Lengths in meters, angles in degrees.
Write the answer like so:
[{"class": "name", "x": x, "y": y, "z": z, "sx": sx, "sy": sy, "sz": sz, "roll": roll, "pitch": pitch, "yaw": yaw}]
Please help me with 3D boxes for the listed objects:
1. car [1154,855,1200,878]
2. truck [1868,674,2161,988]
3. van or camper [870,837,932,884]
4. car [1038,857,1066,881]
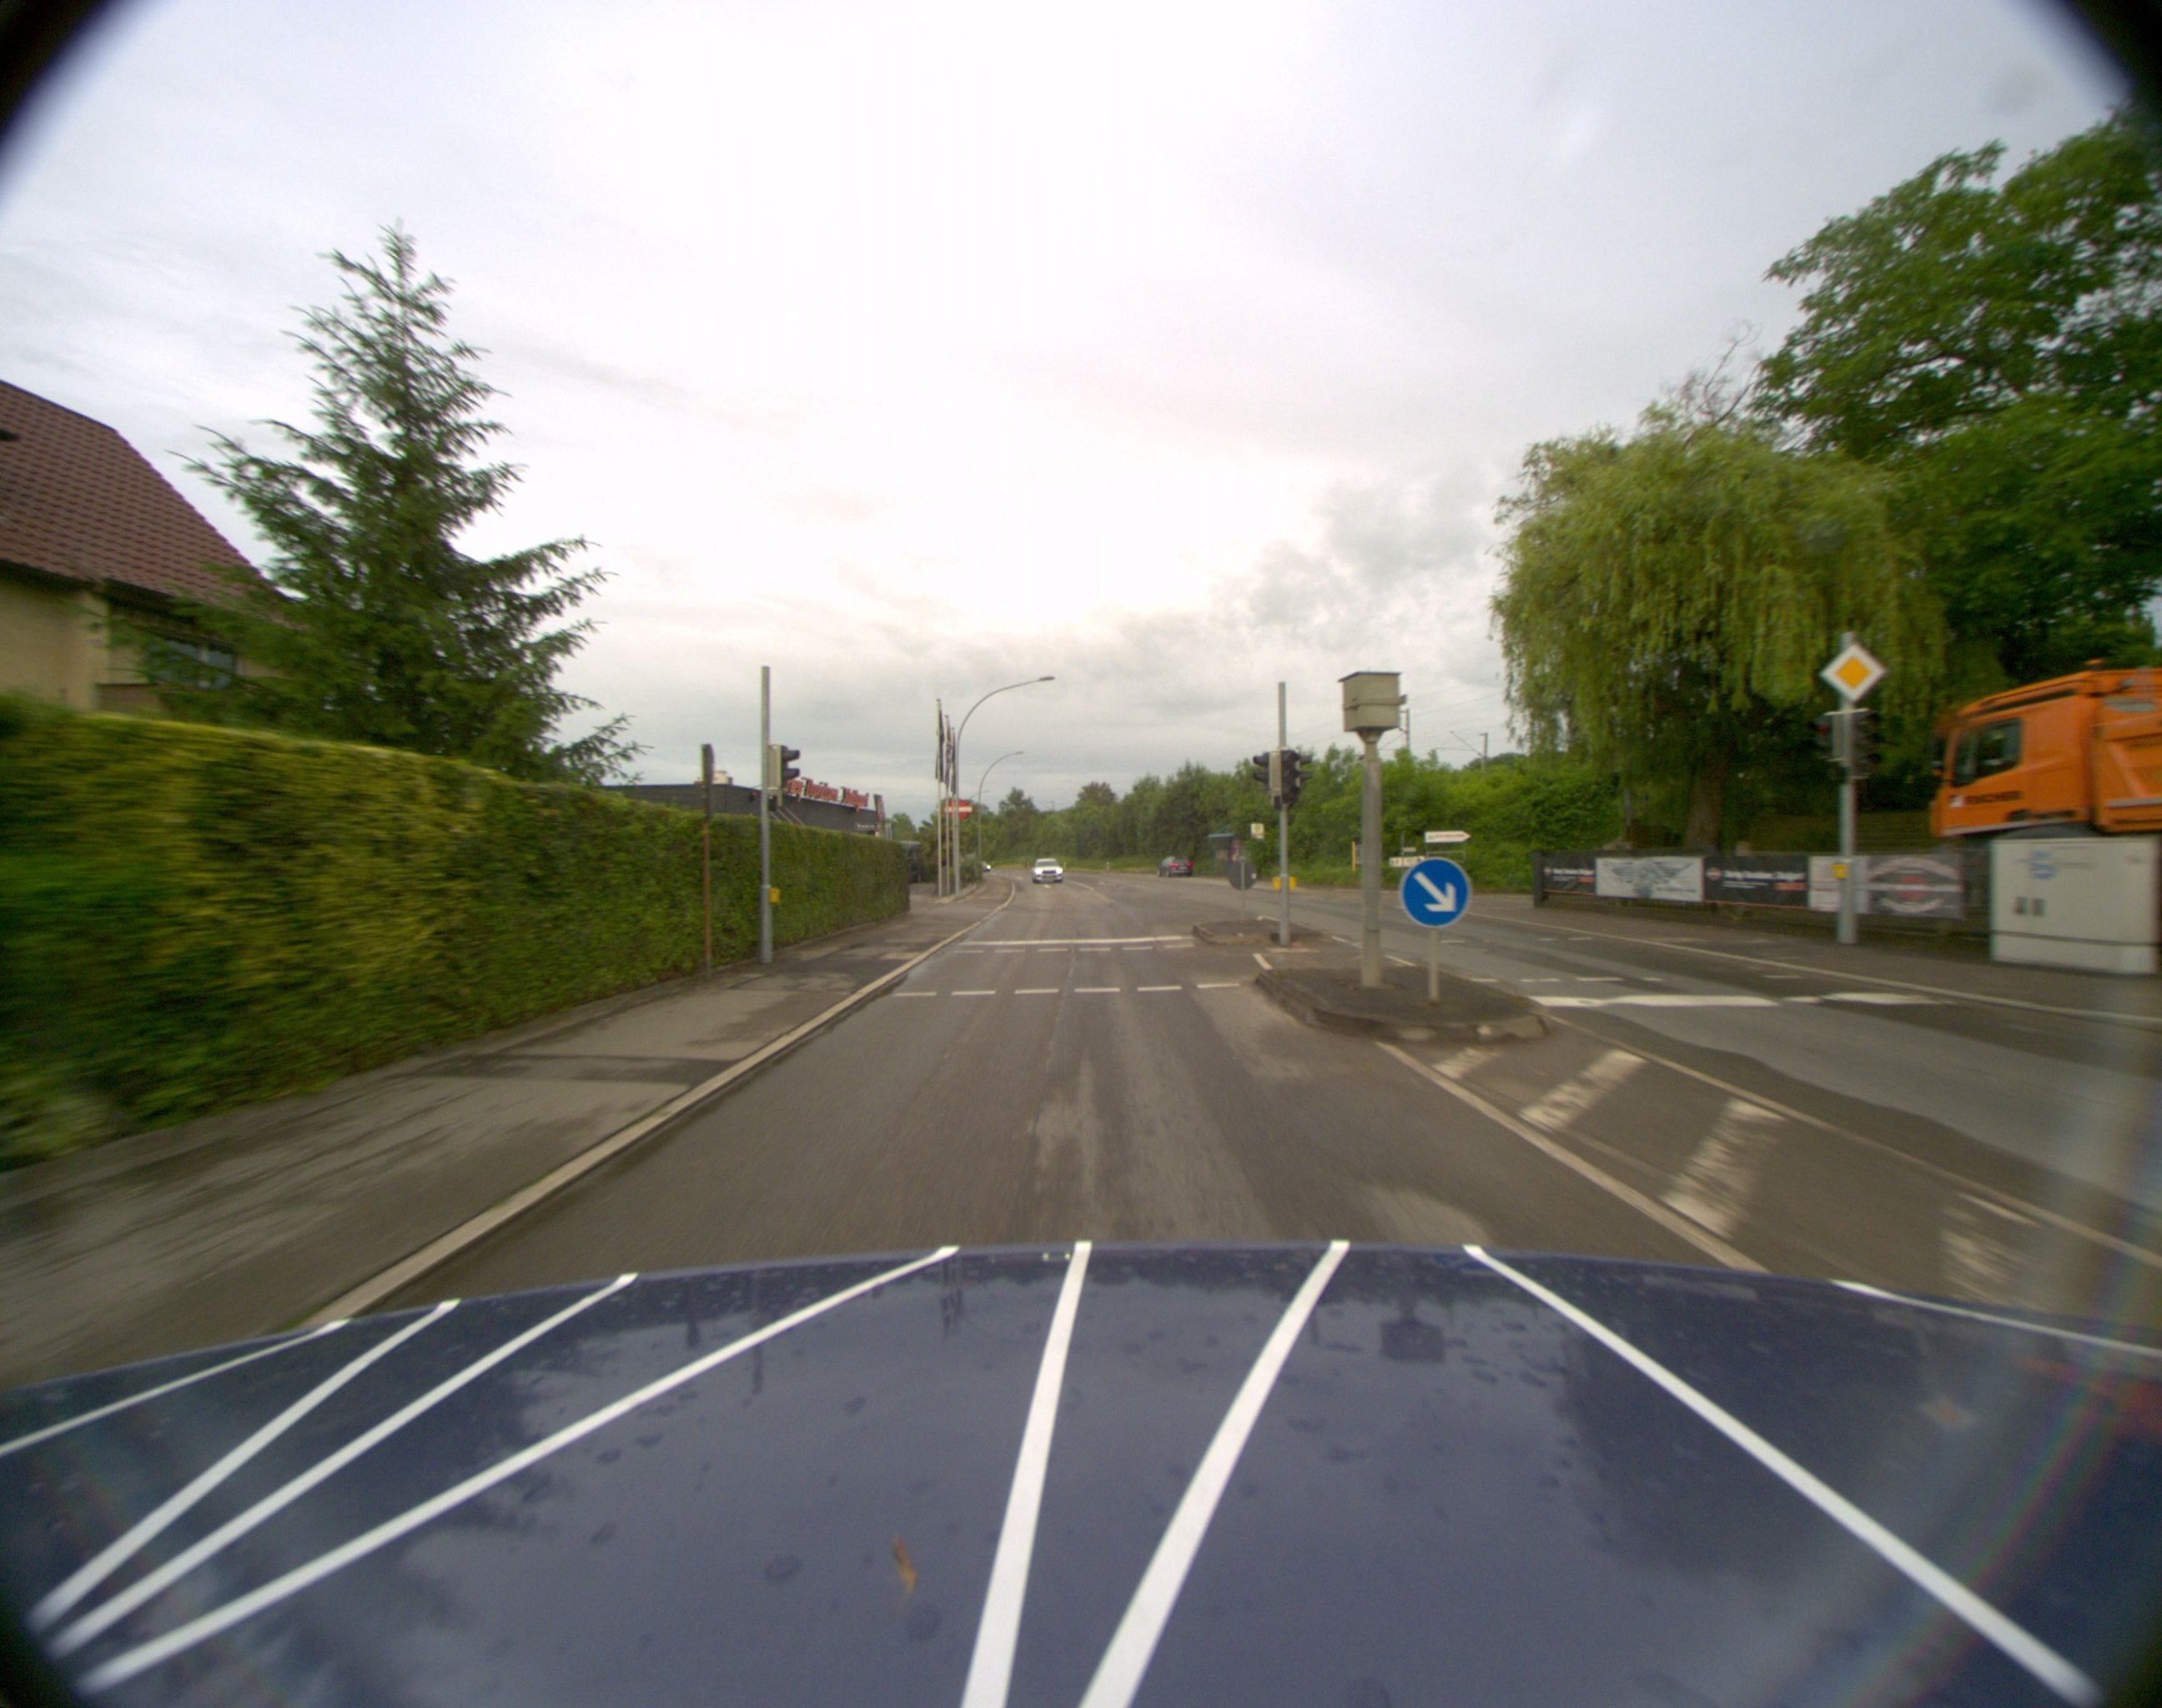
[{"class": "car", "x": 6.976, "y": 0.901, "z": 55.933, "sx": 2.000, "sy": 1.465, "sz": 4.696, "roll": -3, "pitch": 0, "yaw": -10}, {"class": "truck", "x": 12.917, "y": -0.257, "z": 6.915, "sx": 2.703, "sy": 3.393, "sz": 9.072, "roll": -3, "pitch": 2, "yaw": 5}, {"class": "van or camper", "x": -10.744, "y": 0.381, "z": 45.929, "sx": 2.046, "sy": 2.578, "sz": 6.590, "roll": -1, "pitch": 0, "yaw": 1}, {"class": "car", "x": -2.016, "y": 1.033, "z": 53.537, "sx": 1.848, "sy": 1.565, "sz": 3.826, "roll": -1, "pitch": 0, "yaw": -1}]
